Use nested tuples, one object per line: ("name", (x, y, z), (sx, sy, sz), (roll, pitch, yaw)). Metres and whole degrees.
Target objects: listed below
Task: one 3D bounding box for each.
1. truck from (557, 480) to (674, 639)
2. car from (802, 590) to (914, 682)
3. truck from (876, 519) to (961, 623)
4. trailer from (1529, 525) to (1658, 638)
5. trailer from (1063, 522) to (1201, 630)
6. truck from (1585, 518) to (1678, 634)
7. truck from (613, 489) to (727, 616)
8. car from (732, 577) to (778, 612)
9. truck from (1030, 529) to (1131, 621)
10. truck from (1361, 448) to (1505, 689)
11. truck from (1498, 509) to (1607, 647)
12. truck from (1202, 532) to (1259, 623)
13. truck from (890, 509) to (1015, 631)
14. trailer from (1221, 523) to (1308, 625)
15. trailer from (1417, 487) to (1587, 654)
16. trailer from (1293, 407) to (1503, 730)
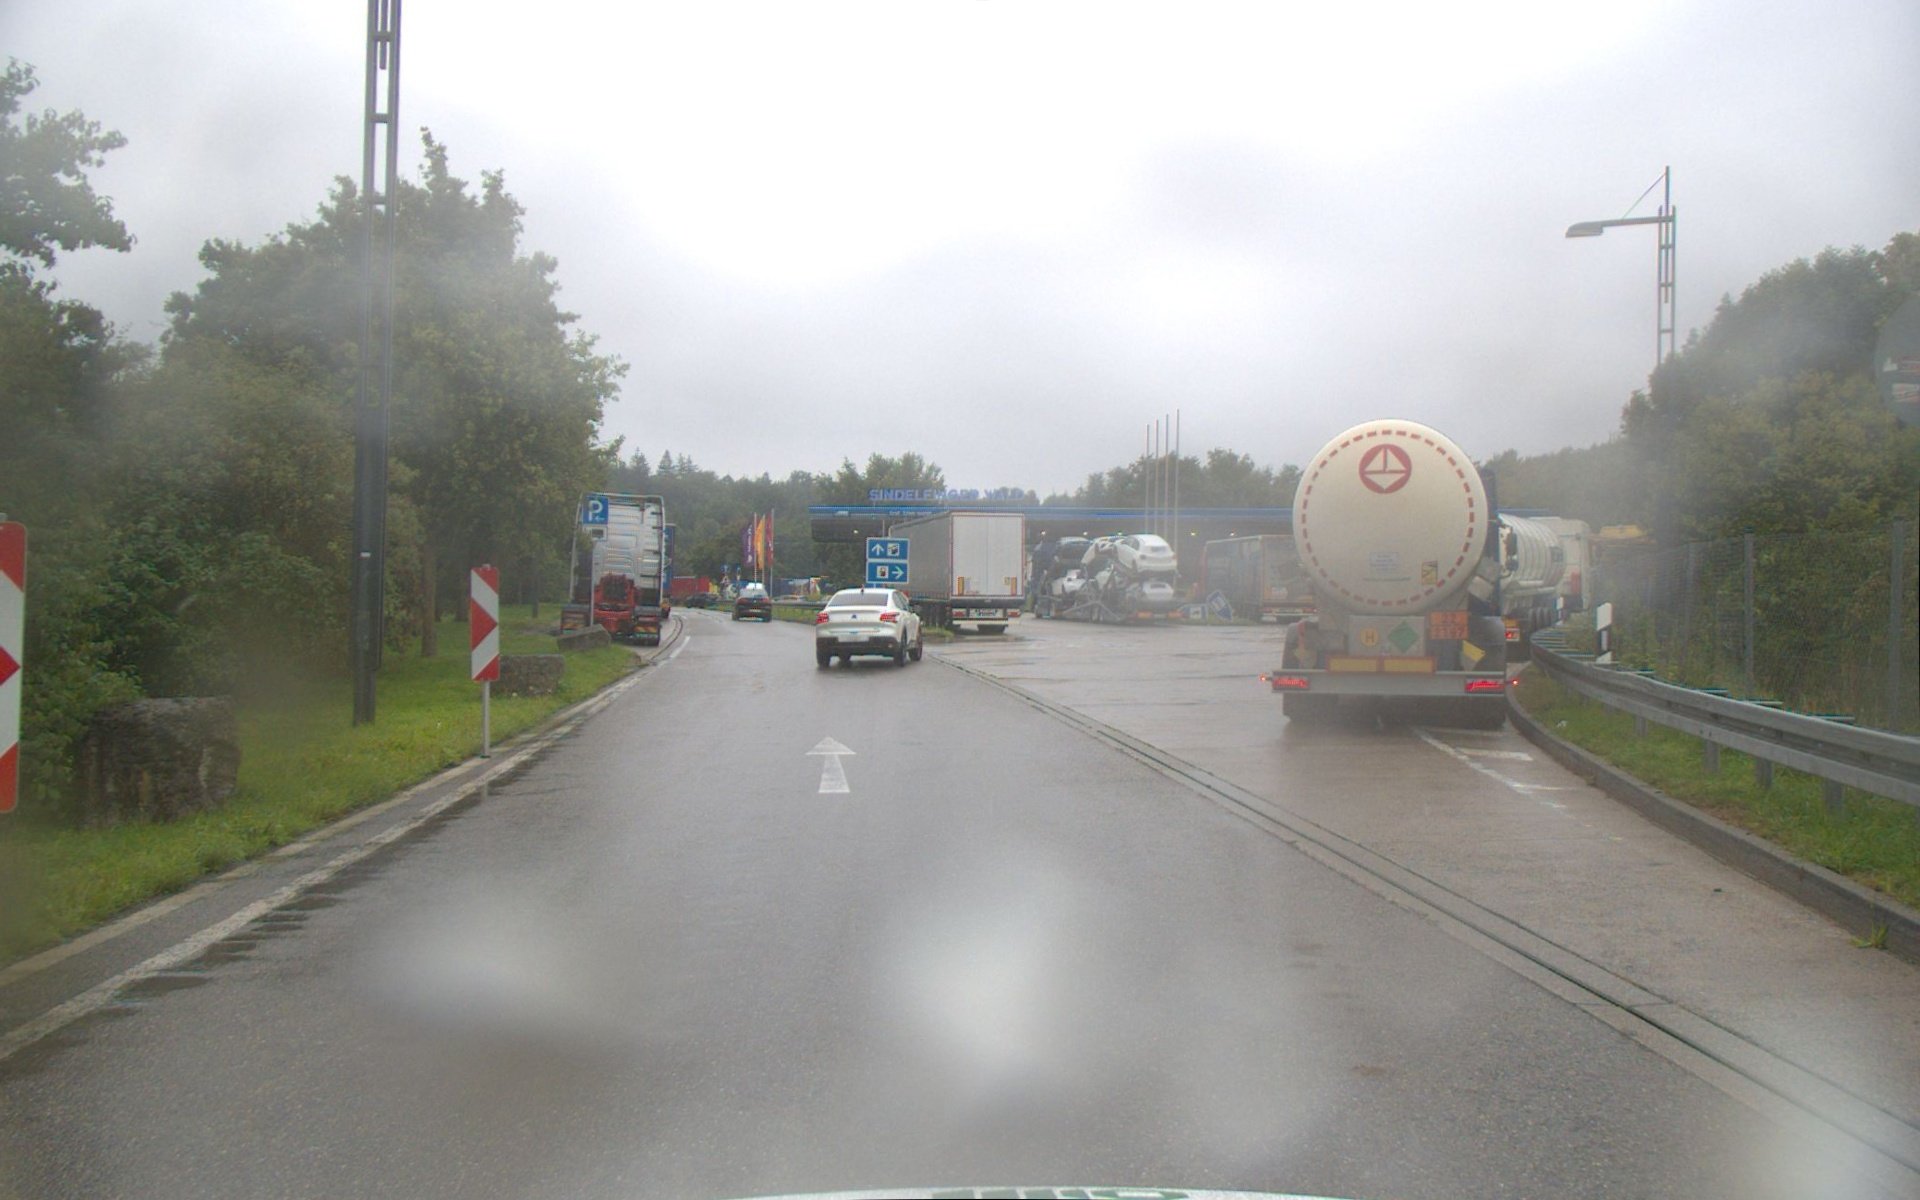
("truck", (-9.262, -1.040, 44.967), (2.863, 3.972, 6.301), (0, 0, -10))
("car", (-2.000, 0.731, 33.463), (1.952, 1.709, 4.000), (1, -1, 0))
("truck", (-1.752, -1.149, 66.504), (2.328, 3.941, 6.993), (0, 1, -11))
("trailer", (20.782, -0.593, 53.999), (2.146, 3.451, 7.536), (0, 0, 35))
("trailer", (7.329, -1.049, 72.611), (3.156, 4.262, 11.507), (1, 1, -9))
("truck", (23.539, -0.835, 57.898), (2.144, 3.895, 4.126), (0, 0, 36))
("truck", (-13.564, -2.092, 76.363), (4.707, 5.398, 11.036), (1, 1, -12))
("car", (-9.335, -0.239, 75.528), (1.841, 1.487, 3.997), (1, 0, -4))
("truck", (5.894, -1.243, 82.459), (3.174, 4.261, 8.427), (1, 1, -9))
("truck", (7.868, -0.486, 27.221), (2.010, 3.593, 4.747), (1, 0, 19))
("truck", (16.374, -0.591, 45.593), (2.105, 3.574, 4.638), (0, 0, 29))
("truck", (14.321, -1.166, 87.712), (1.948, 4.629, 4.792), (1, 0, -3))
("truck", (-0.478, -1.056, 59.911), (2.328, 3.941, 12.422), (0, 1, -11))
("trailer", (14.679, -1.168, 80.412), (1.954, 4.639, 9.803), (1, 0, -3))
("trailer", (13.264, -0.646, 39.860), (2.091, 3.501, 10.237), (0, 0, 28))
("trailer", (6.110, -0.335, 21.987), (1.939, 3.281, 10.324), (1, 0, 19))
